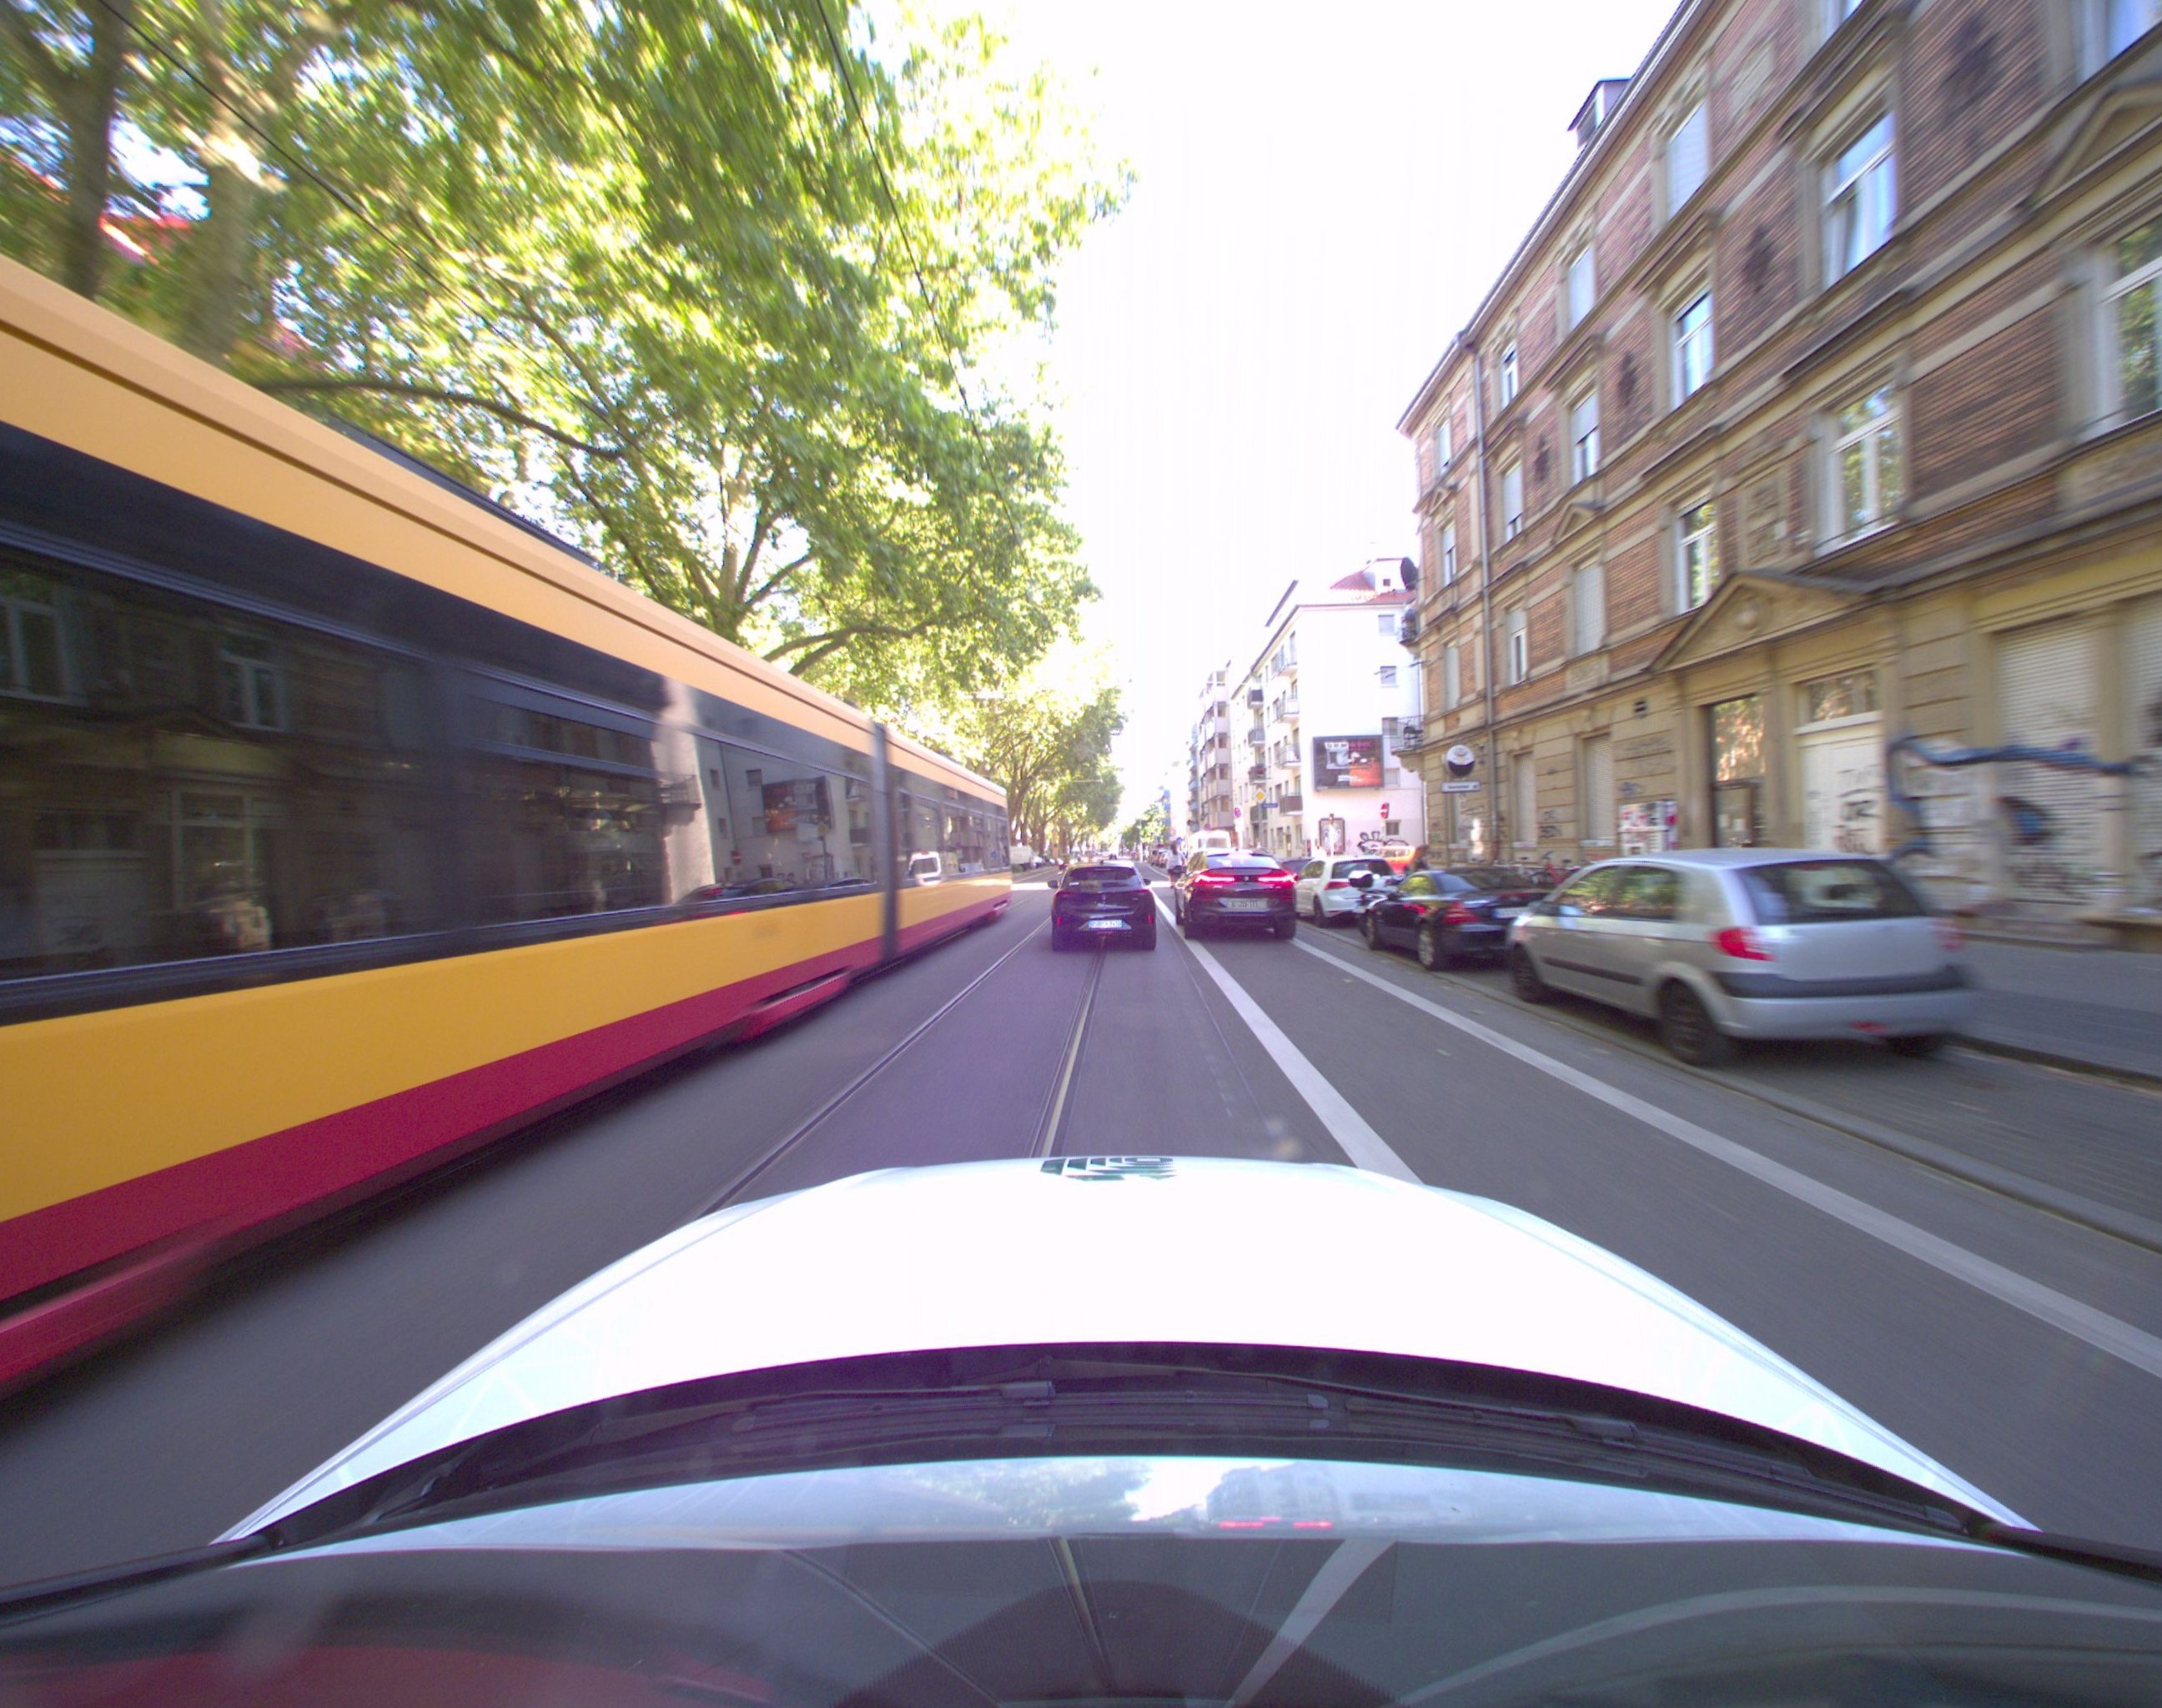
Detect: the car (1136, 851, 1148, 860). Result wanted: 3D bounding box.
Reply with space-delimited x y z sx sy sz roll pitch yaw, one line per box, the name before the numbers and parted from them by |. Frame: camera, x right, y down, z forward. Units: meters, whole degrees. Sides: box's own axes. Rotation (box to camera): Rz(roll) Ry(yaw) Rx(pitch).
car | 10.755 0.286 143.964 1.713 1.574 4.082 -2 0 -1

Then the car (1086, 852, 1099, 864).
car | 1.599 0.520 110.649 1.712 1.510 3.723 -2 0 1

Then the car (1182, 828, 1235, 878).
car | 6.903 -0.021 44.815 2.141 2.495 6.091 -2 0 2

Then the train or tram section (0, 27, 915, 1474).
train or tram section | -3.973 -0.238 4.893 2.924 3.619 11.270 0 0 4

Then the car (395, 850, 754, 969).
car | -10.790 1.133 17.651 6.575 2.407 2.002 0 0 2

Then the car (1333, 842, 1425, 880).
car | 13.509 0.324 37.066 3.629 1.574 1.794 -2 0 8

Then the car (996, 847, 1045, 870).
car | -6.924 0.504 93.665 5.338 2.477 2.058 -2 0 2

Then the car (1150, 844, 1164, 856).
car | 11.162 -0.552 120.052 1.850 1.651 4.005 -2 0 4

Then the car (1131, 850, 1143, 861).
car | 8.832 0.238 127.734 1.850 1.651 4.005 -2 0 4

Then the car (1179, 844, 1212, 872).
car | 7.715 0.262 55.208 1.850 1.820 4.355 -2 0 3

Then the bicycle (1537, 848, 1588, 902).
bicycle | 10.646 0.443 18.036 0.376 1.154 1.374 -2 0 4

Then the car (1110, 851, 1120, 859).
car | 7.235 0.226 172.757 1.742 1.651 4.005 -2 0 4

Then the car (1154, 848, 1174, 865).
car | 8.783 0.288 86.658 1.760 1.705 4.285 -2 0 2

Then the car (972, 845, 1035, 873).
car | -7.480 0.434 79.081 5.717 2.536 2.164 -1 0 2

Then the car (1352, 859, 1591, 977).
car | 5.264 0.775 11.555 1.643 1.272 3.726 -4 0 2

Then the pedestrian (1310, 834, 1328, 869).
pedestrian | 11.097 -0.108 37.956 0.629 1.580 0.934 0 -1 4

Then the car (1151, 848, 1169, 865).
car | 9.200 0.231 95.245 1.850 1.890 4.930 -2 0 4

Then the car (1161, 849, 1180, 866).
car | 8.755 0.348 80.057 1.717 1.525 4.518 -2 0 4

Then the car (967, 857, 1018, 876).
car | -7.552 1.048 69.663 3.970 1.496 1.832 -2 0 3

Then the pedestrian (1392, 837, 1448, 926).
pedestrian | 6.484 0.518 15.608 0.760 1.657 0.717 -2 0 3

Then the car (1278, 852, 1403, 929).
car | 5.600 0.723 18.079 1.596 1.420 4.016 -4 0 3

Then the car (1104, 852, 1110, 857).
car | 7.521 0.208 231.978 1.673 1.422 3.629 -1 0 2

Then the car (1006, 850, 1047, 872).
car | -6.890 0.886 102.486 4.929 2.567 2.082 -2 0 -1

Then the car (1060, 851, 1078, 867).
car | -1.212 0.491 81.448 1.629 1.510 3.692 -2 0 1

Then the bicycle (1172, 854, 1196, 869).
bicycle | 8.308 0.601 65.836 1.787 1.148 0.705 -4 0 2

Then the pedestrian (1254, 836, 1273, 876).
pedestrian | 8.693 0.109 38.829 0.622 1.822 1.083 -3 -1 4

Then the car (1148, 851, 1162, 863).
car | 10.186 0.417 112.418 1.850 1.651 4.005 -2 0 4

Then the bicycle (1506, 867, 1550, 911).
bicycle | 10.788 0.823 19.680 0.376 1.001 1.374 -2 0 4

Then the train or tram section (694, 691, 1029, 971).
train or tram section | -3.212 -0.255 16.092 2.924 3.619 11.073 0 0 4

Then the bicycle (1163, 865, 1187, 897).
bicycle | 3.350 0.963 29.114 0.698 1.092 1.991 0 -1 2

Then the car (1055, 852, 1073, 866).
car | -2.294 0.678 110.779 1.986 1.700 4.487 -4 0 2

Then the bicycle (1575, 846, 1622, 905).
bicycle | 10.624 0.426 16.739 0.272 1.154 1.140 -2 0 4

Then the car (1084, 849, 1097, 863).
car | 1.521 0.313 130.310 1.910 2.227 4.961 -2 0 1

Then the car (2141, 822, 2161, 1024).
car | 4.931 0.577 1.768 1.504 1.542 2.822 -5 0 2

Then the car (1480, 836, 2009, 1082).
car | 5.076 0.670 6.999 1.599 1.452 3.745 -4 0 4

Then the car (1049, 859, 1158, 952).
car | 0.415 0.805 14.368 1.673 1.422 3.629 -1 0 2

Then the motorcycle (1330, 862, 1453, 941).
motorcycle | 5.594 0.821 14.661 2.141 1.289 0.639 -2 0 -20

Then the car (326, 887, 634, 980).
car | -10.686 1.392 14.732 4.130 1.497 1.905 0 -1 1

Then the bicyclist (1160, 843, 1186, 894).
bicyclist | 3.271 0.517 29.022 0.783 1.759 0.915 -2 0 2

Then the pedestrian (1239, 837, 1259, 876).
pedestrian | 8.030 0.115 38.874 0.706 1.822 1.083 -3 -1 4

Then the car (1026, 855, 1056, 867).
car | -5.618 0.907 113.557 3.973 1.522 1.771 -2 0 1

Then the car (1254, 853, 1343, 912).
car | 6.117 0.749 23.345 1.642 1.420 4.064 -4 0 4

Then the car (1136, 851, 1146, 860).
car | 11.123 0.311 150.725 1.712 1.490 3.682 -2 0 1

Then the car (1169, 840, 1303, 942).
car | 2.896 0.642 16.226 1.936 1.704 4.632 -1 0 2
